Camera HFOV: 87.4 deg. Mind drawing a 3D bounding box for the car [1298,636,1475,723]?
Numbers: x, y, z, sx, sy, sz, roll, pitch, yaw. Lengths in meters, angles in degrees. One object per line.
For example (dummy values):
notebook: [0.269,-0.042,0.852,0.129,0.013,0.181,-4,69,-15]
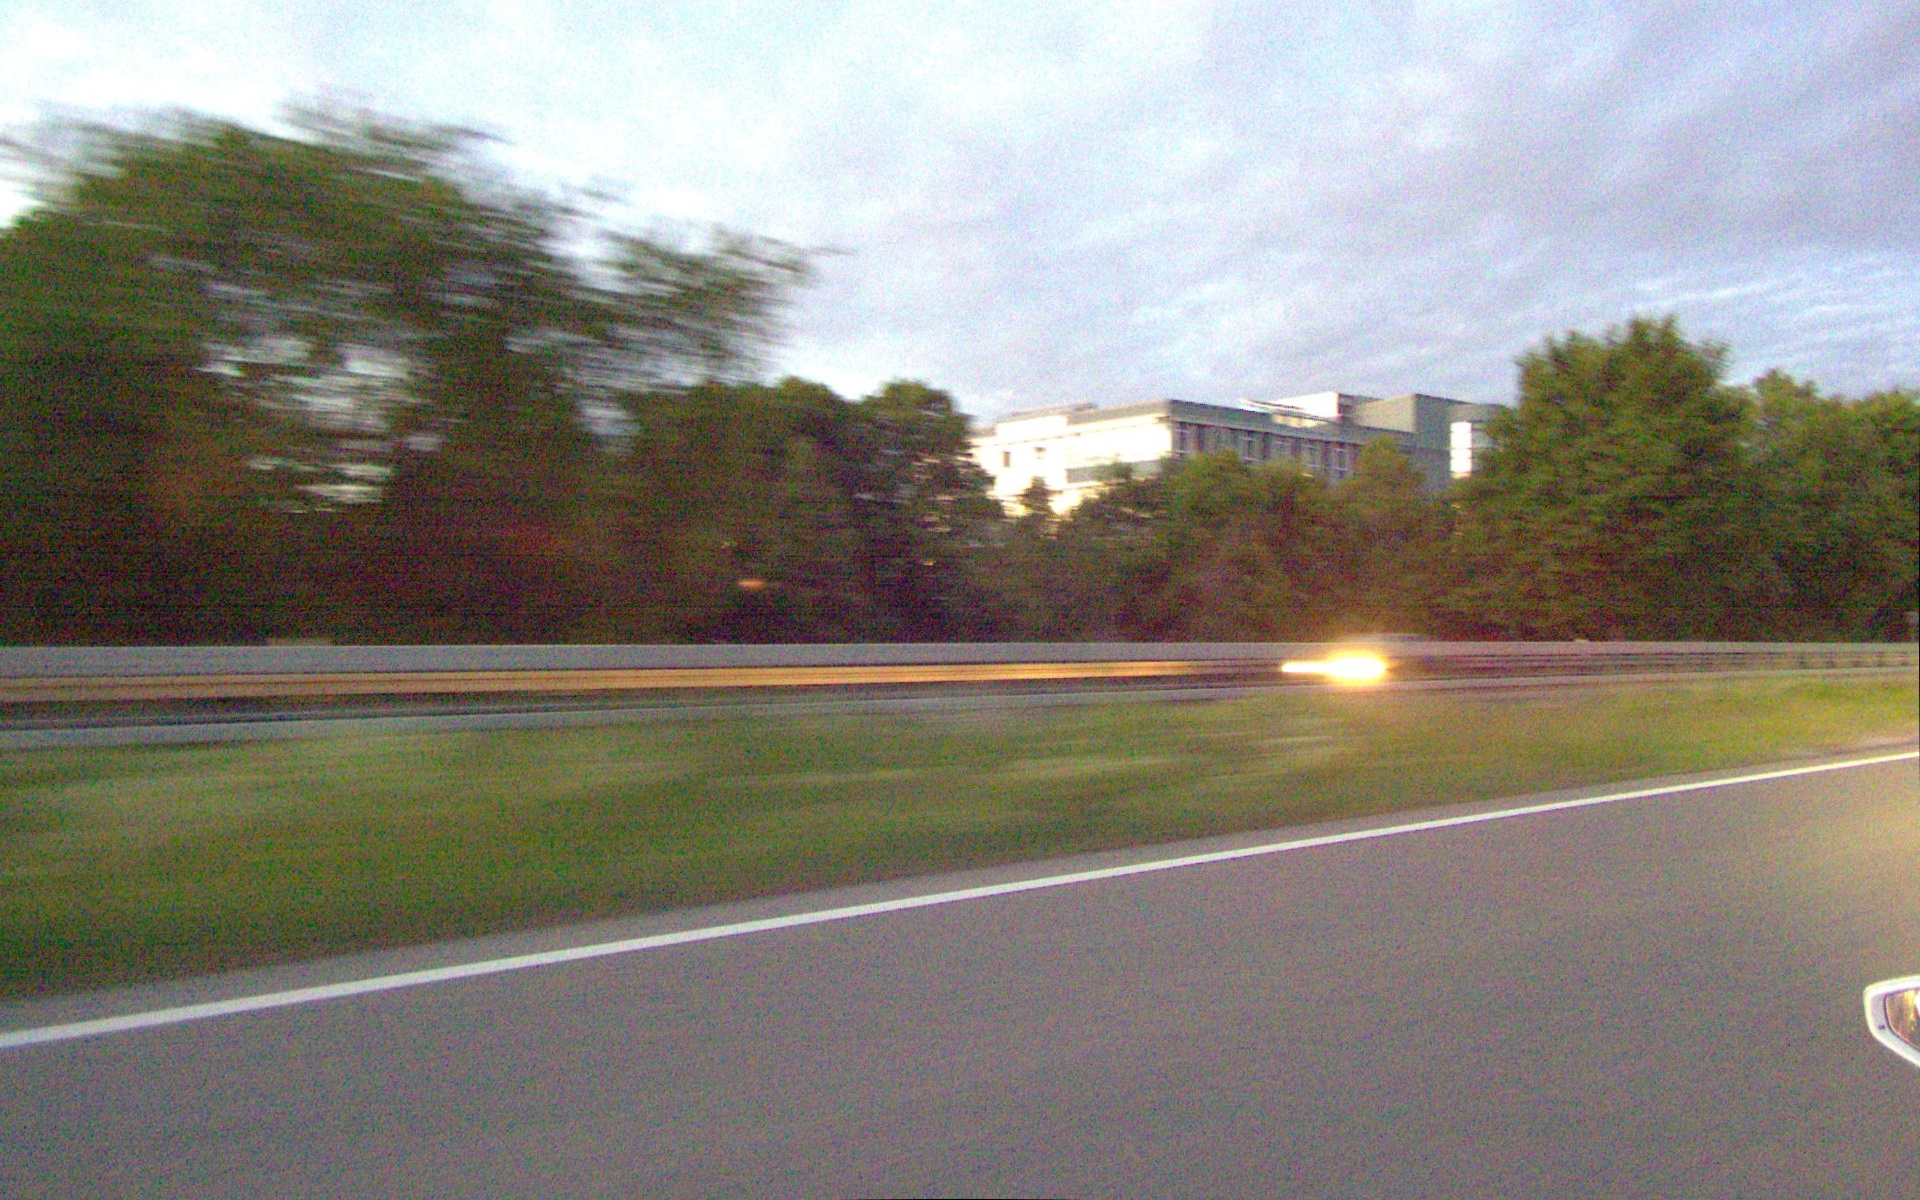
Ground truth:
car: [9.737,1.741,22.874,3.953,1.781,1.661,1,0,-30]
